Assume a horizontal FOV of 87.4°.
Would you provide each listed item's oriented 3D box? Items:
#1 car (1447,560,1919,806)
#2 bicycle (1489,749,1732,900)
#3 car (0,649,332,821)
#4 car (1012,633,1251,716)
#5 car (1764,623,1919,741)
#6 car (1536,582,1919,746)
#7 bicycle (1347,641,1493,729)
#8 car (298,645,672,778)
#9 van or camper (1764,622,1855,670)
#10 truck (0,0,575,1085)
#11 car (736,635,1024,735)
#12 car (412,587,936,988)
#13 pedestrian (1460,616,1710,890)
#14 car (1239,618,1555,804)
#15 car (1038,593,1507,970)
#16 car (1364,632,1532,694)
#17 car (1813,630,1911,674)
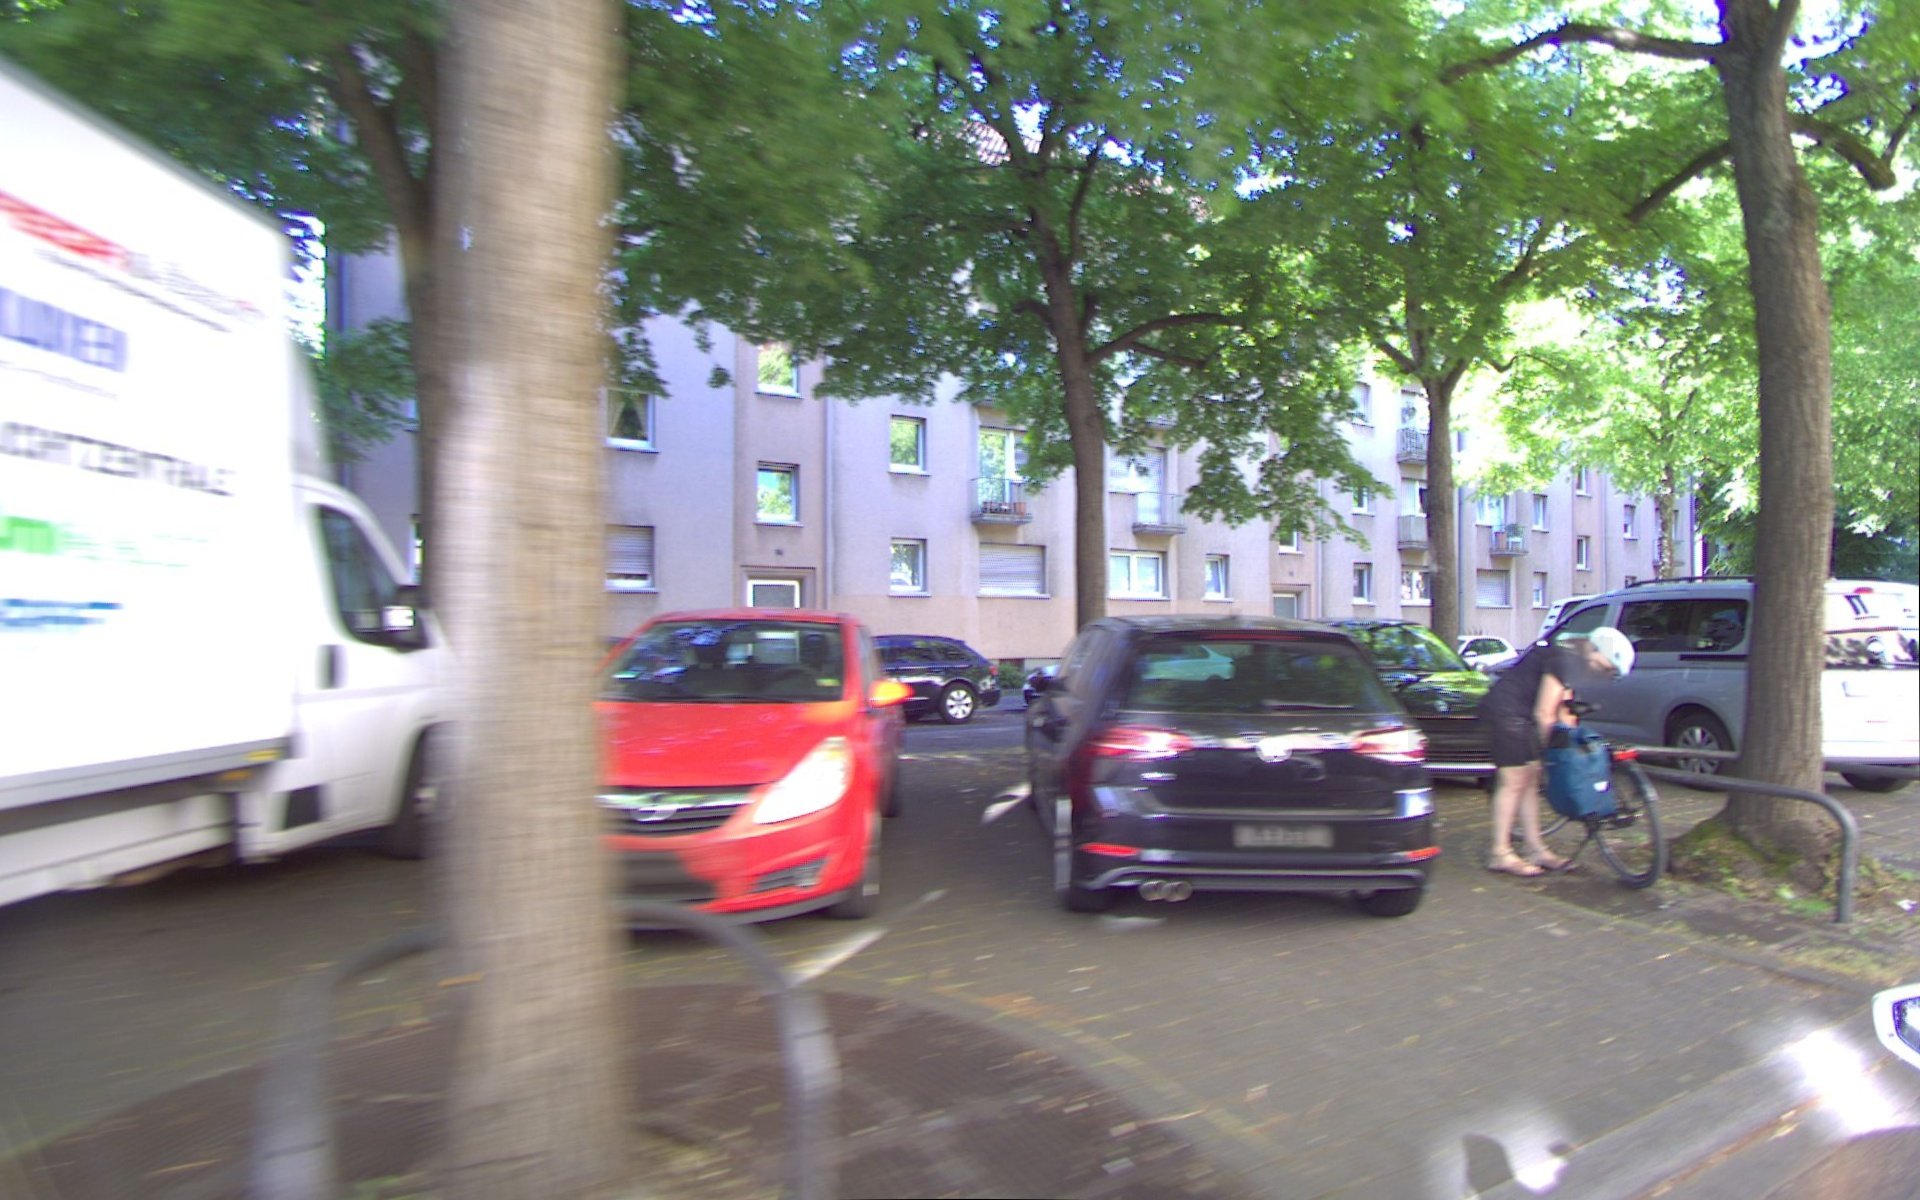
[{"bbox_3d":[7.144,0.687,10.087,2.041,1.889,4.521,0,-1,-5],"label":"car"},{"bbox_3d":[3.724,1.260,5.901,0.401,0.566,1.615,0,-2,1],"label":"bicycle"},{"bbox_3d":[-7.959,1.111,8.577,4.367,1.311,1.754,1,-4,-34],"label":"car"},{"bbox_3d":[3.347,1.365,19.315,4.566,1.411,1.718,1,-3,-32],"label":"car"},{"bbox_3d":[12.833,1.025,12.757,1.752,1.474,4.491,0,-1,2],"label":"car"},{"bbox_3d":[10.218,0.819,13.729,1.979,1.856,4.607,0,-2,-1],"label":"car"},{"bbox_3d":[6.467,1.159,14.232,0.513,1.152,1.928,1,-2,-31],"label":"bicycle"},{"bbox_3d":[-6.264,1.378,13.475,4.303,1.453,1.752,1,-3,-37],"label":"car"},{"bbox_3d":[29.484,1.577,34.863,2.666,1.575,1.589,1,-2,-30],"label":"van or camper"},{"bbox_3d":[-4.175,-0.157,3.749,2.496,3.337,7.328,0,-2,1],"label":"truck"},{"bbox_3d":[-1.235,1.290,16.396,4.484,1.424,1.610,1,-2,-32],"label":"car"},{"bbox_3d":[-1.152,0.755,5.870,1.812,1.522,4.001,0,-1,1],"label":"car"},{"bbox_3d":[3.423,0.802,5.584,0.910,1.415,0.753,0,-1,1],"label":"pedestrian"},{"bbox_3d":[3.913,0.897,9.697,1.591,1.425,3.804,0,-1,4],"label":"car"},{"bbox_3d":[1.437,0.779,6.169,1.699,1.526,4.109,0,-1,1],"label":"car"},{"bbox_3d":[12.045,1.490,24.755,3.953,1.405,1.883,1,-2,-31],"label":"car"},{"bbox_3d":[33.360,1.896,37.140,3.725,1.519,1.656,1,-2,-30],"label":"car"}]
